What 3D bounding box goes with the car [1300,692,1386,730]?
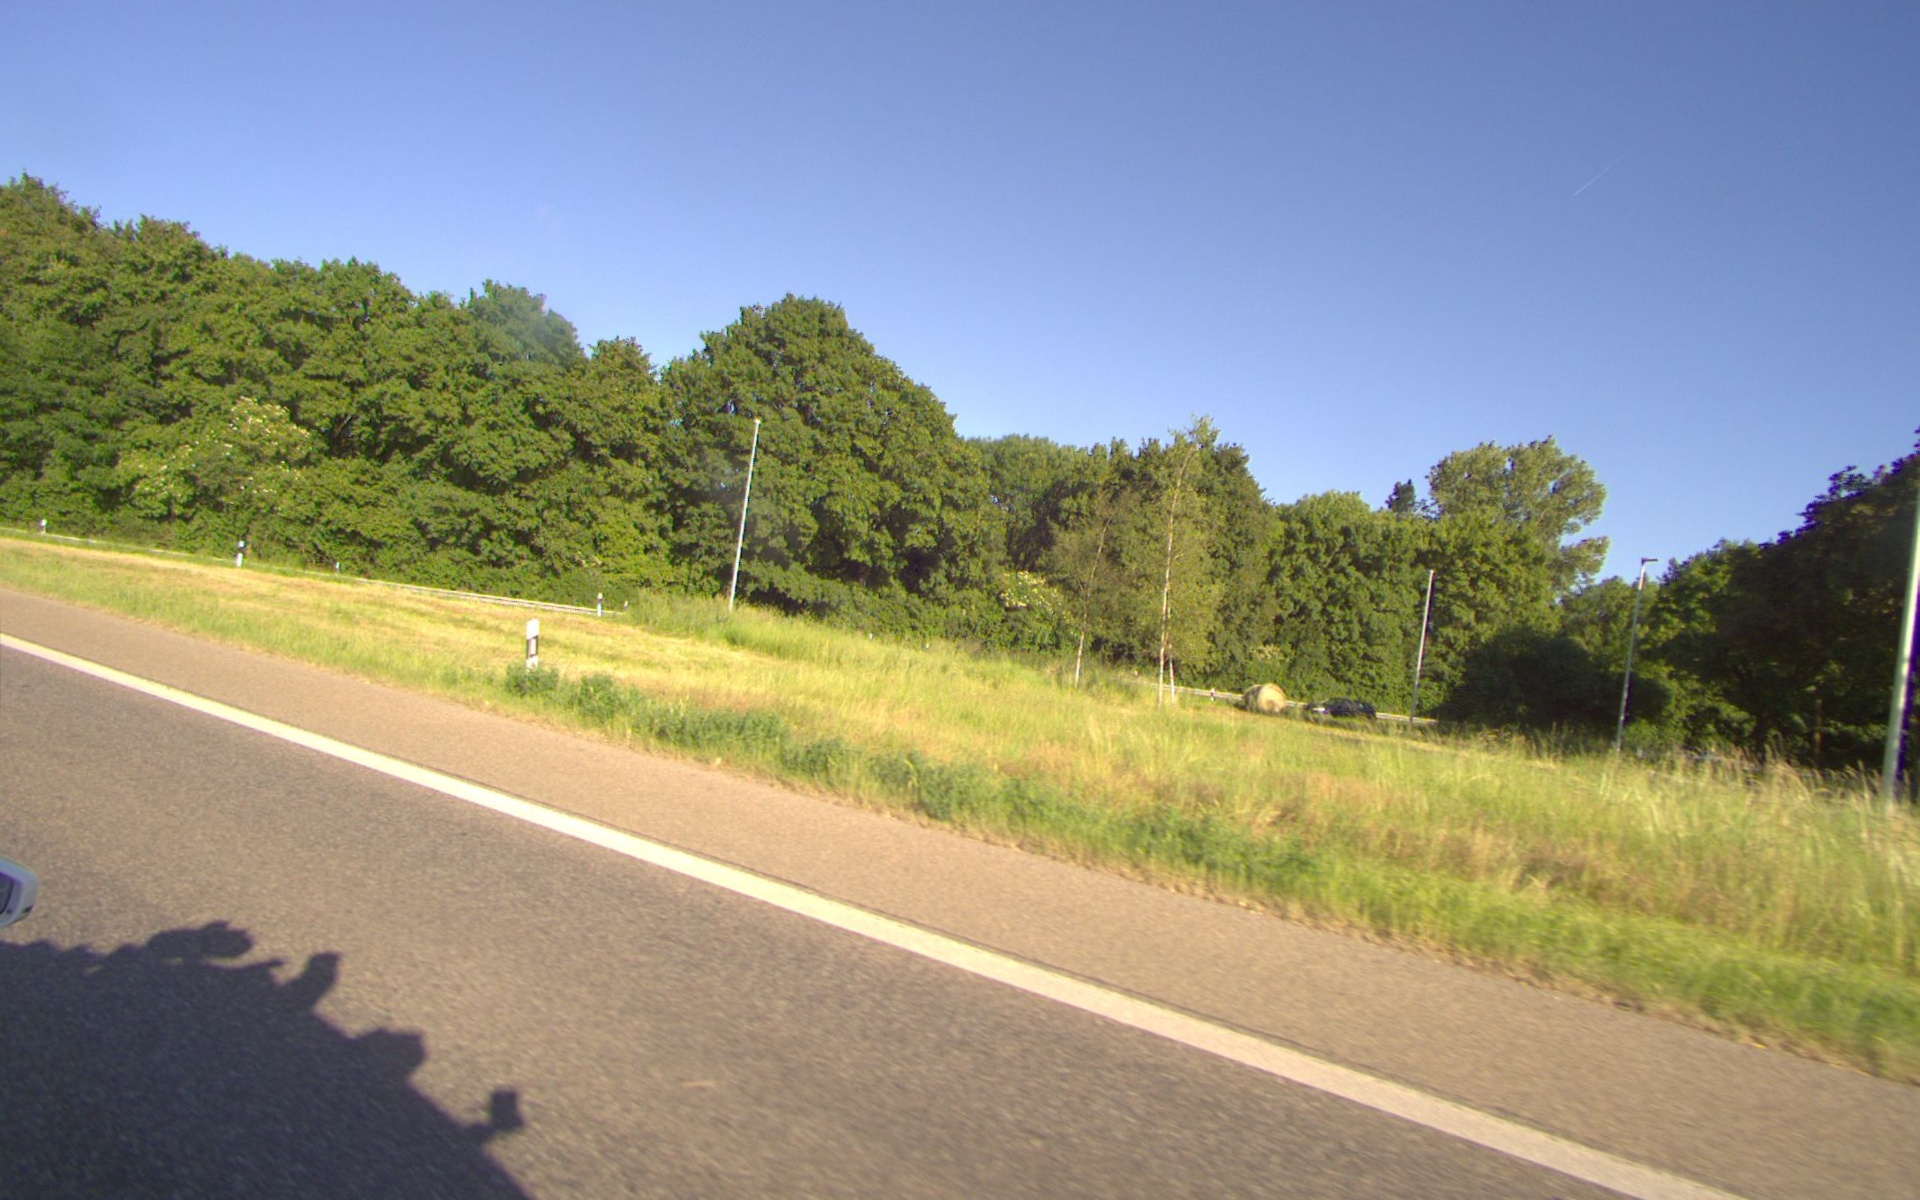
[{"bbox_3d":[21.021,6.070,55.235,3.936,1.424,1.864,8,-2,-12],"label":"car"}]
